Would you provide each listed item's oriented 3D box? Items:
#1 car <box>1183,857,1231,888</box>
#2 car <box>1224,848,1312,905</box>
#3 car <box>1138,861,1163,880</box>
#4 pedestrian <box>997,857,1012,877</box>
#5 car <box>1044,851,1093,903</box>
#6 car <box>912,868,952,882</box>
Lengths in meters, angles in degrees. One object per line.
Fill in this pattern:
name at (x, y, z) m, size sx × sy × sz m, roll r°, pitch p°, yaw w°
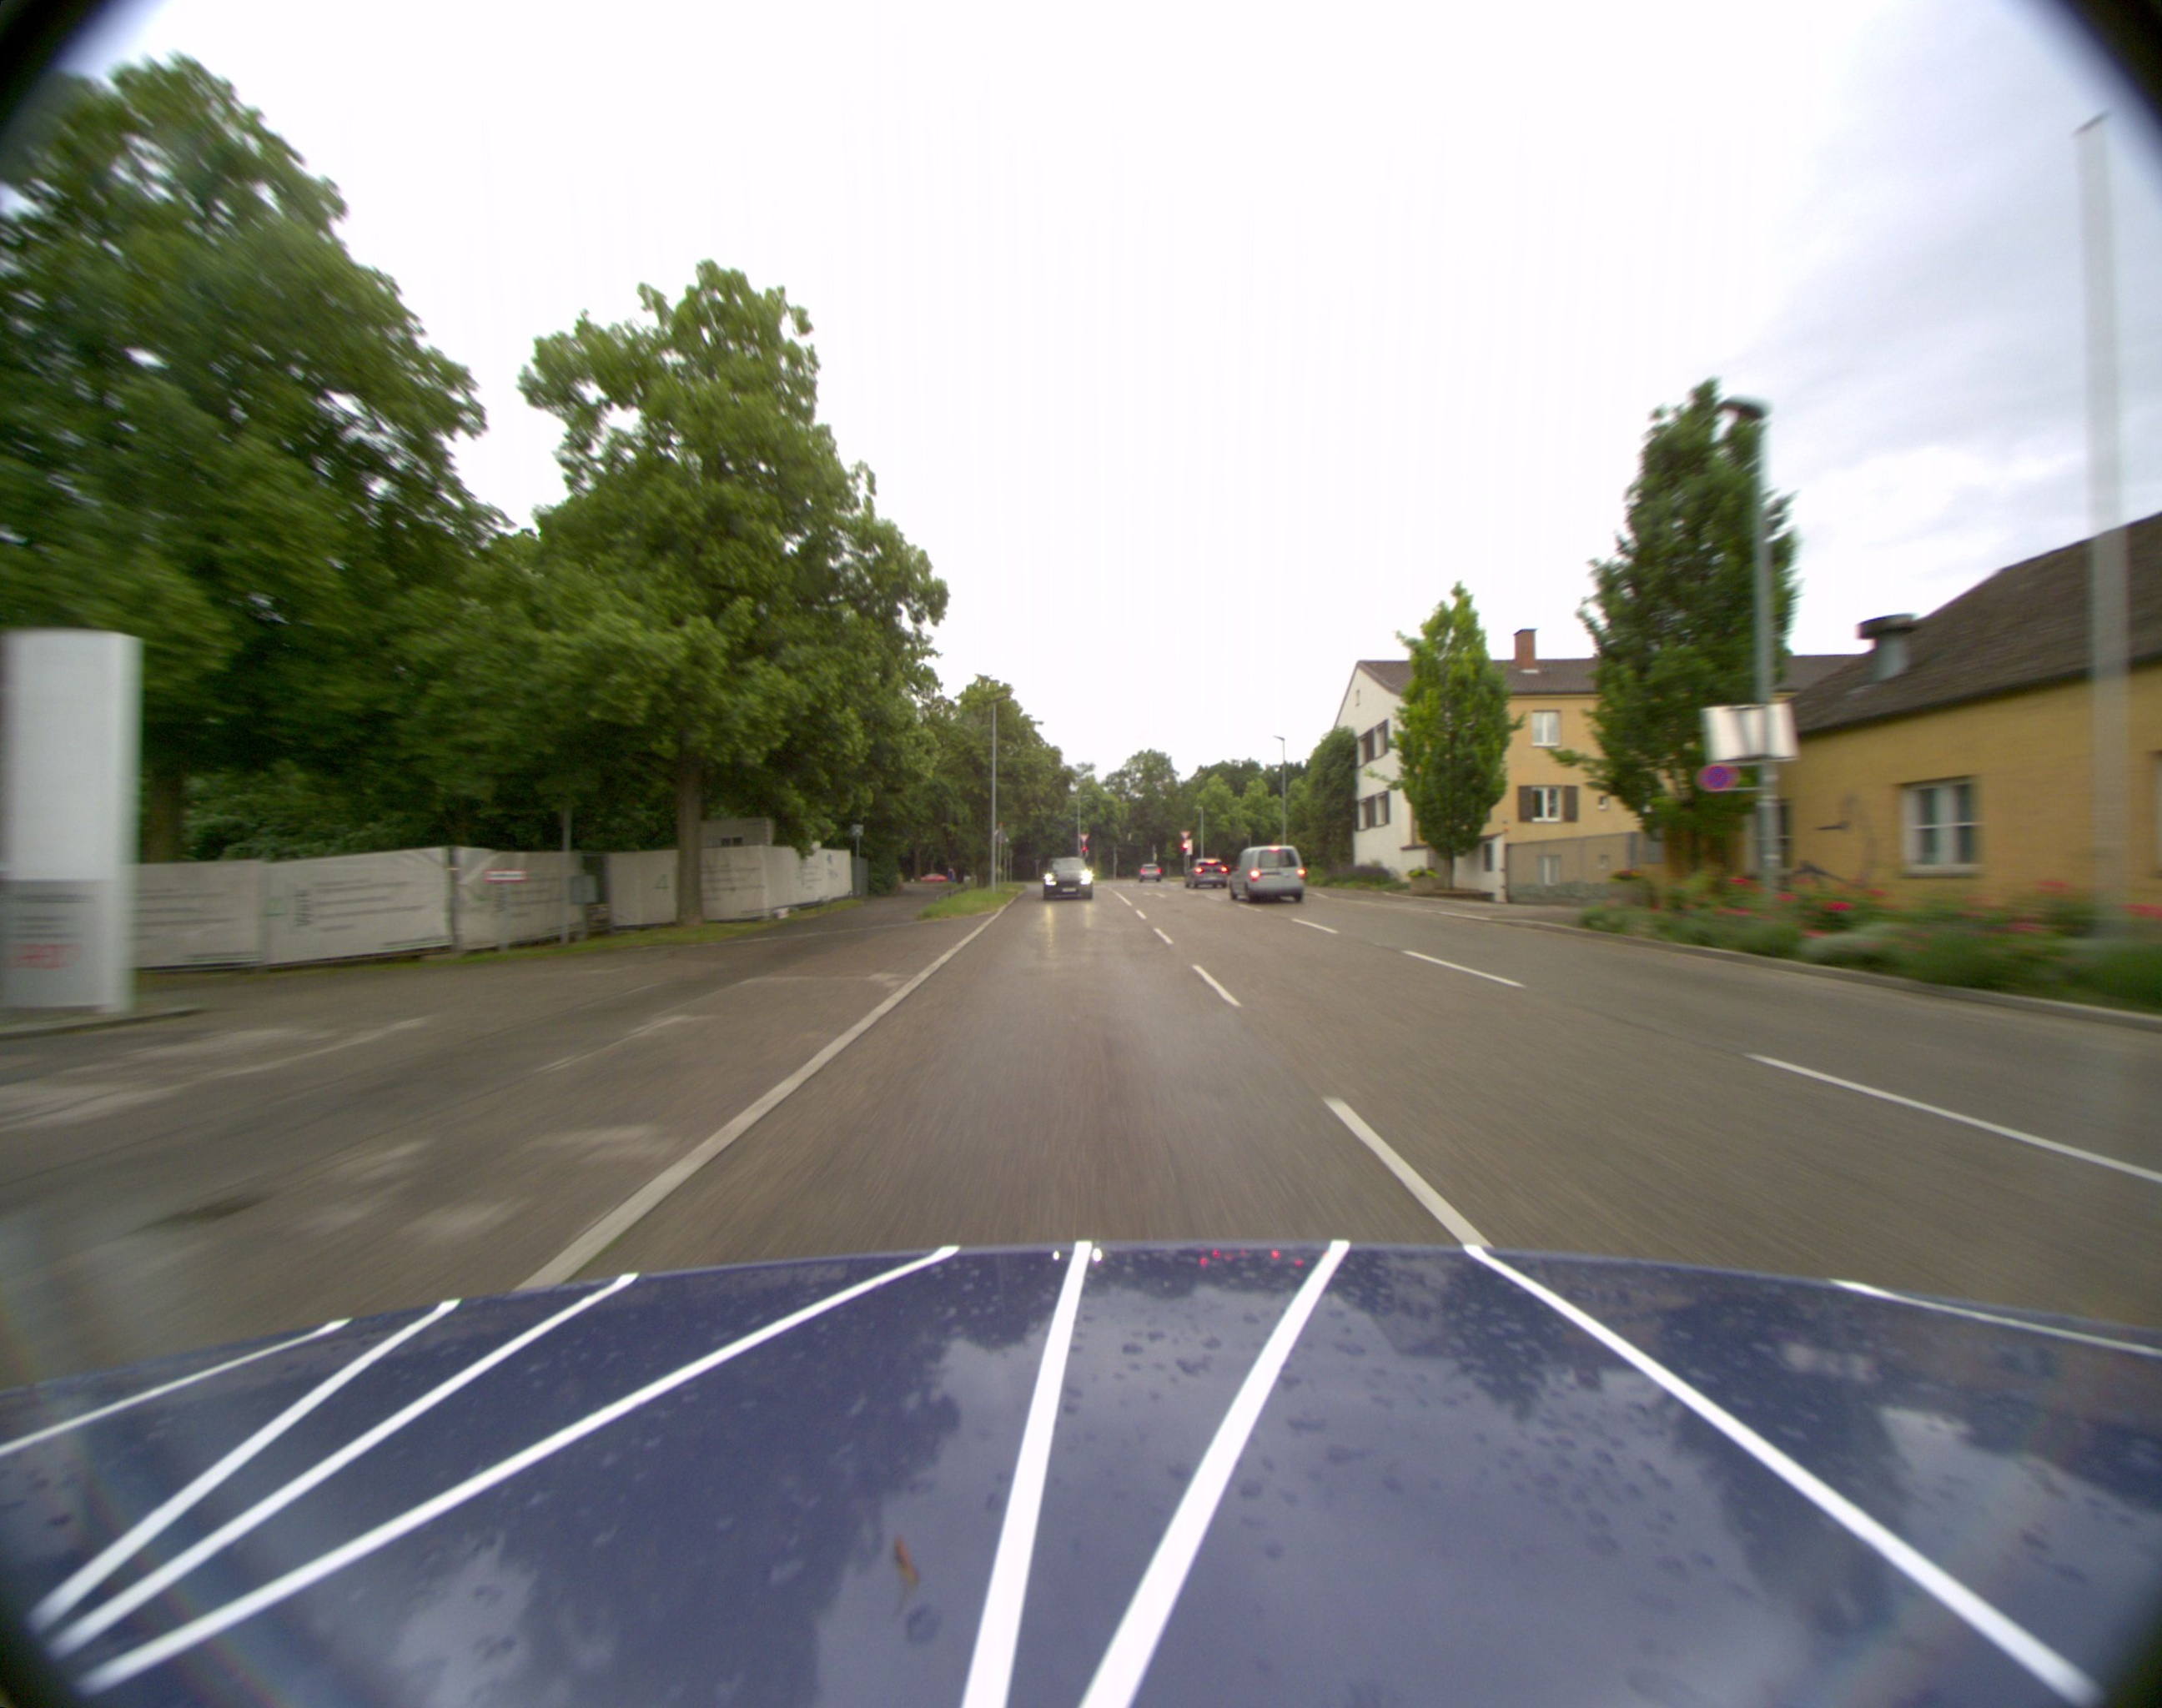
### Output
car at (6.754, 0.964, 41.147) m, size 1.887 × 1.449 × 4.469 m, roll -1°, pitch 1°, yaw 1°
car at (6.167, 0.671, 25.580) m, size 1.899 × 1.695 × 4.509 m, roll -1°, pitch 1°, yaw 1°
car at (6.257, 1.468, 68.656) m, size 1.925 × 1.618 × 4.345 m, roll -1°, pitch -1°, yaw 1°
pedestrian at (-6.483, 1.092, 64.201) m, size 1.019 × 1.711 × 0.747 m, roll -1°, pitch 1°, yaw 42°
car at (-0.450, 0.879, 31.643) m, size 1.847 × 1.961 × 4.344 m, roll -1°, pitch 1°, yaw 2°
car at (-17.886, 2.459, 91.092) m, size 4.348 × 1.506 × 1.996 m, roll -2°, pitch 1°, yaw -22°
